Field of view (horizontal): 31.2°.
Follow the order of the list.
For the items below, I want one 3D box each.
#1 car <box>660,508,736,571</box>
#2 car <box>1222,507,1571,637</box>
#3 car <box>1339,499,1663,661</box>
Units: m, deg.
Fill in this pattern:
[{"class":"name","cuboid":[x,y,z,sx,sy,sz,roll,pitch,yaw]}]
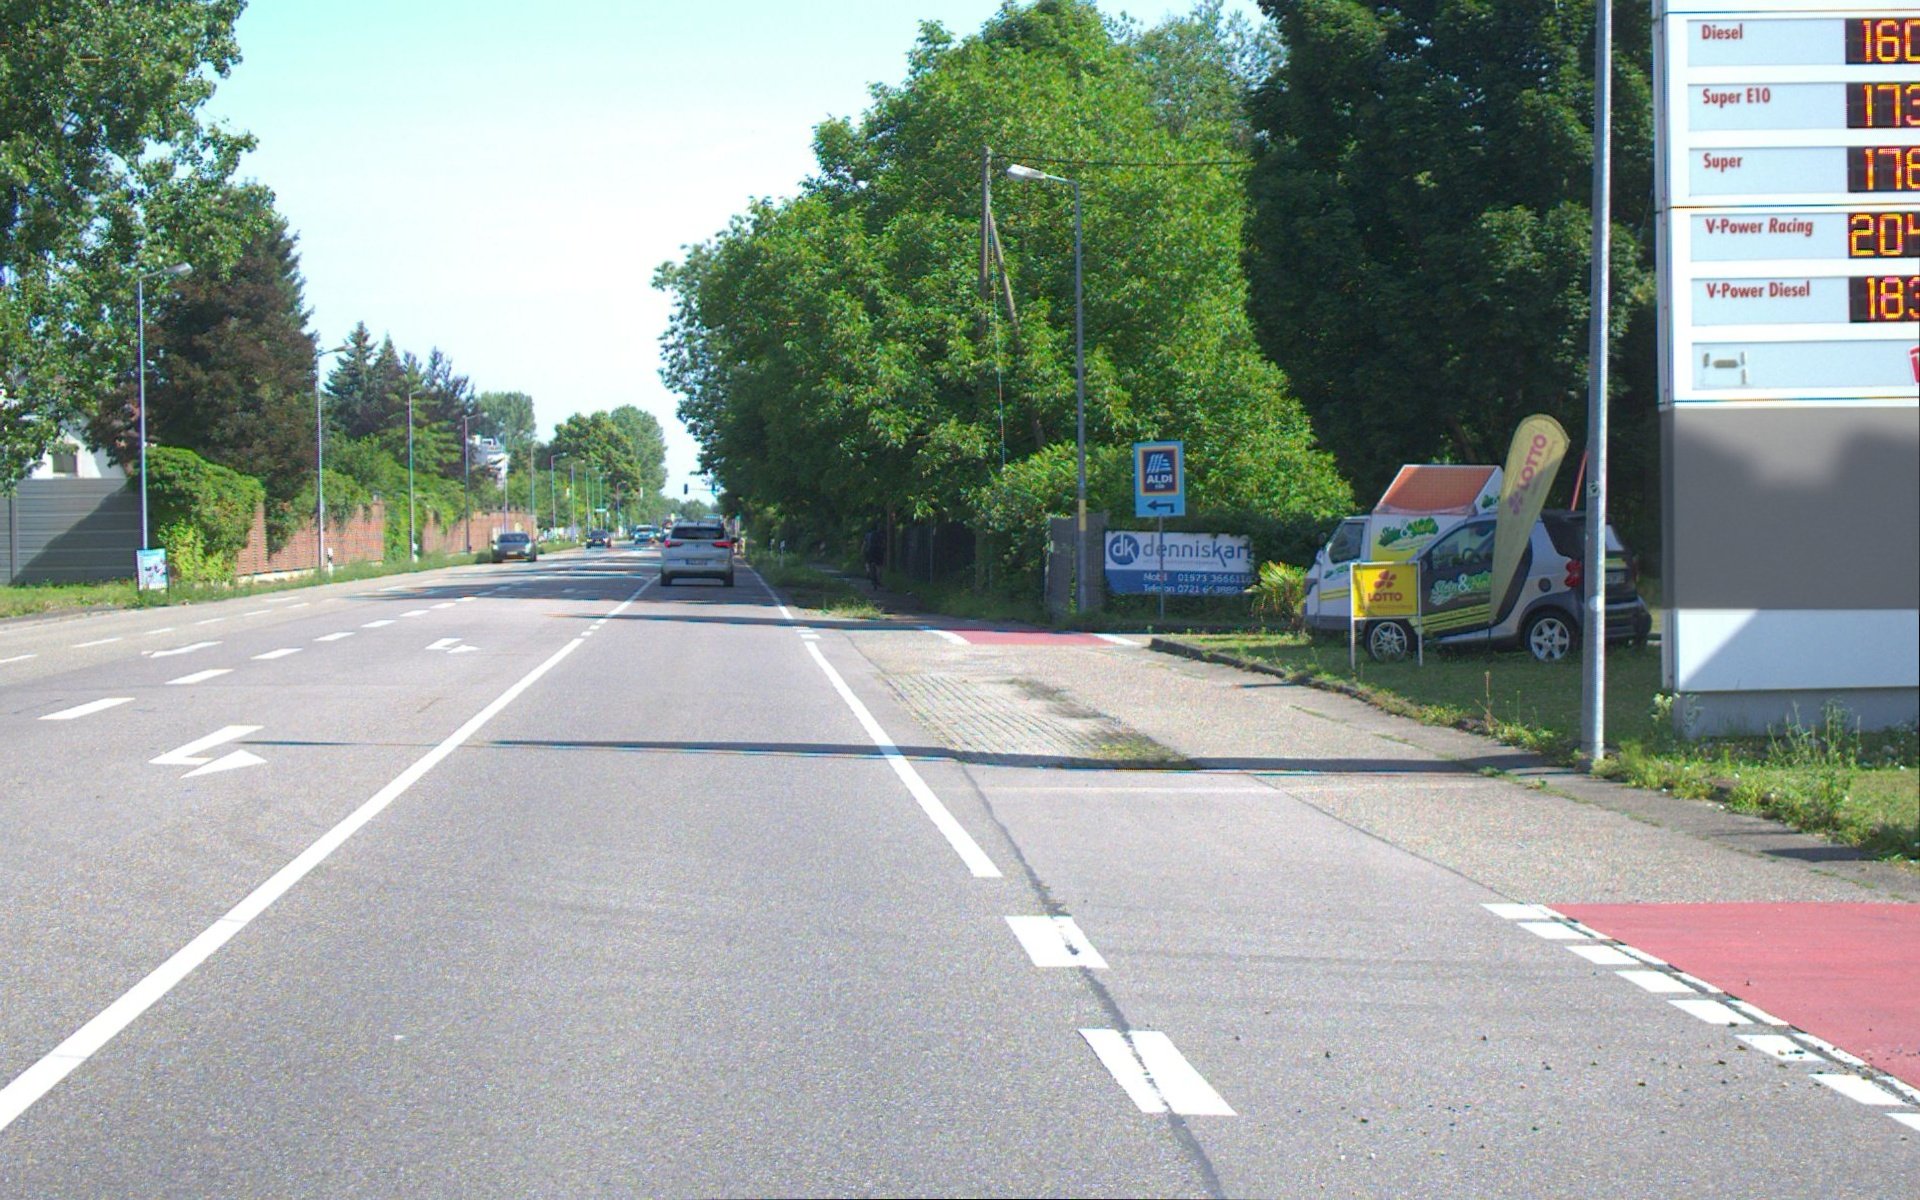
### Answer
[{"class":"car","cuboid":[-6.629,-1.536,87.251,1.846,1.536,4.225,1,1,-4]},{"class":"car","cuboid":[5.400,-0.347,42.727,3.986,1.525,1.586,1,1,-11]},{"class":"car","cuboid":[5.312,-0.193,33.865,2.728,1.525,1.574,0,0,41]}]
